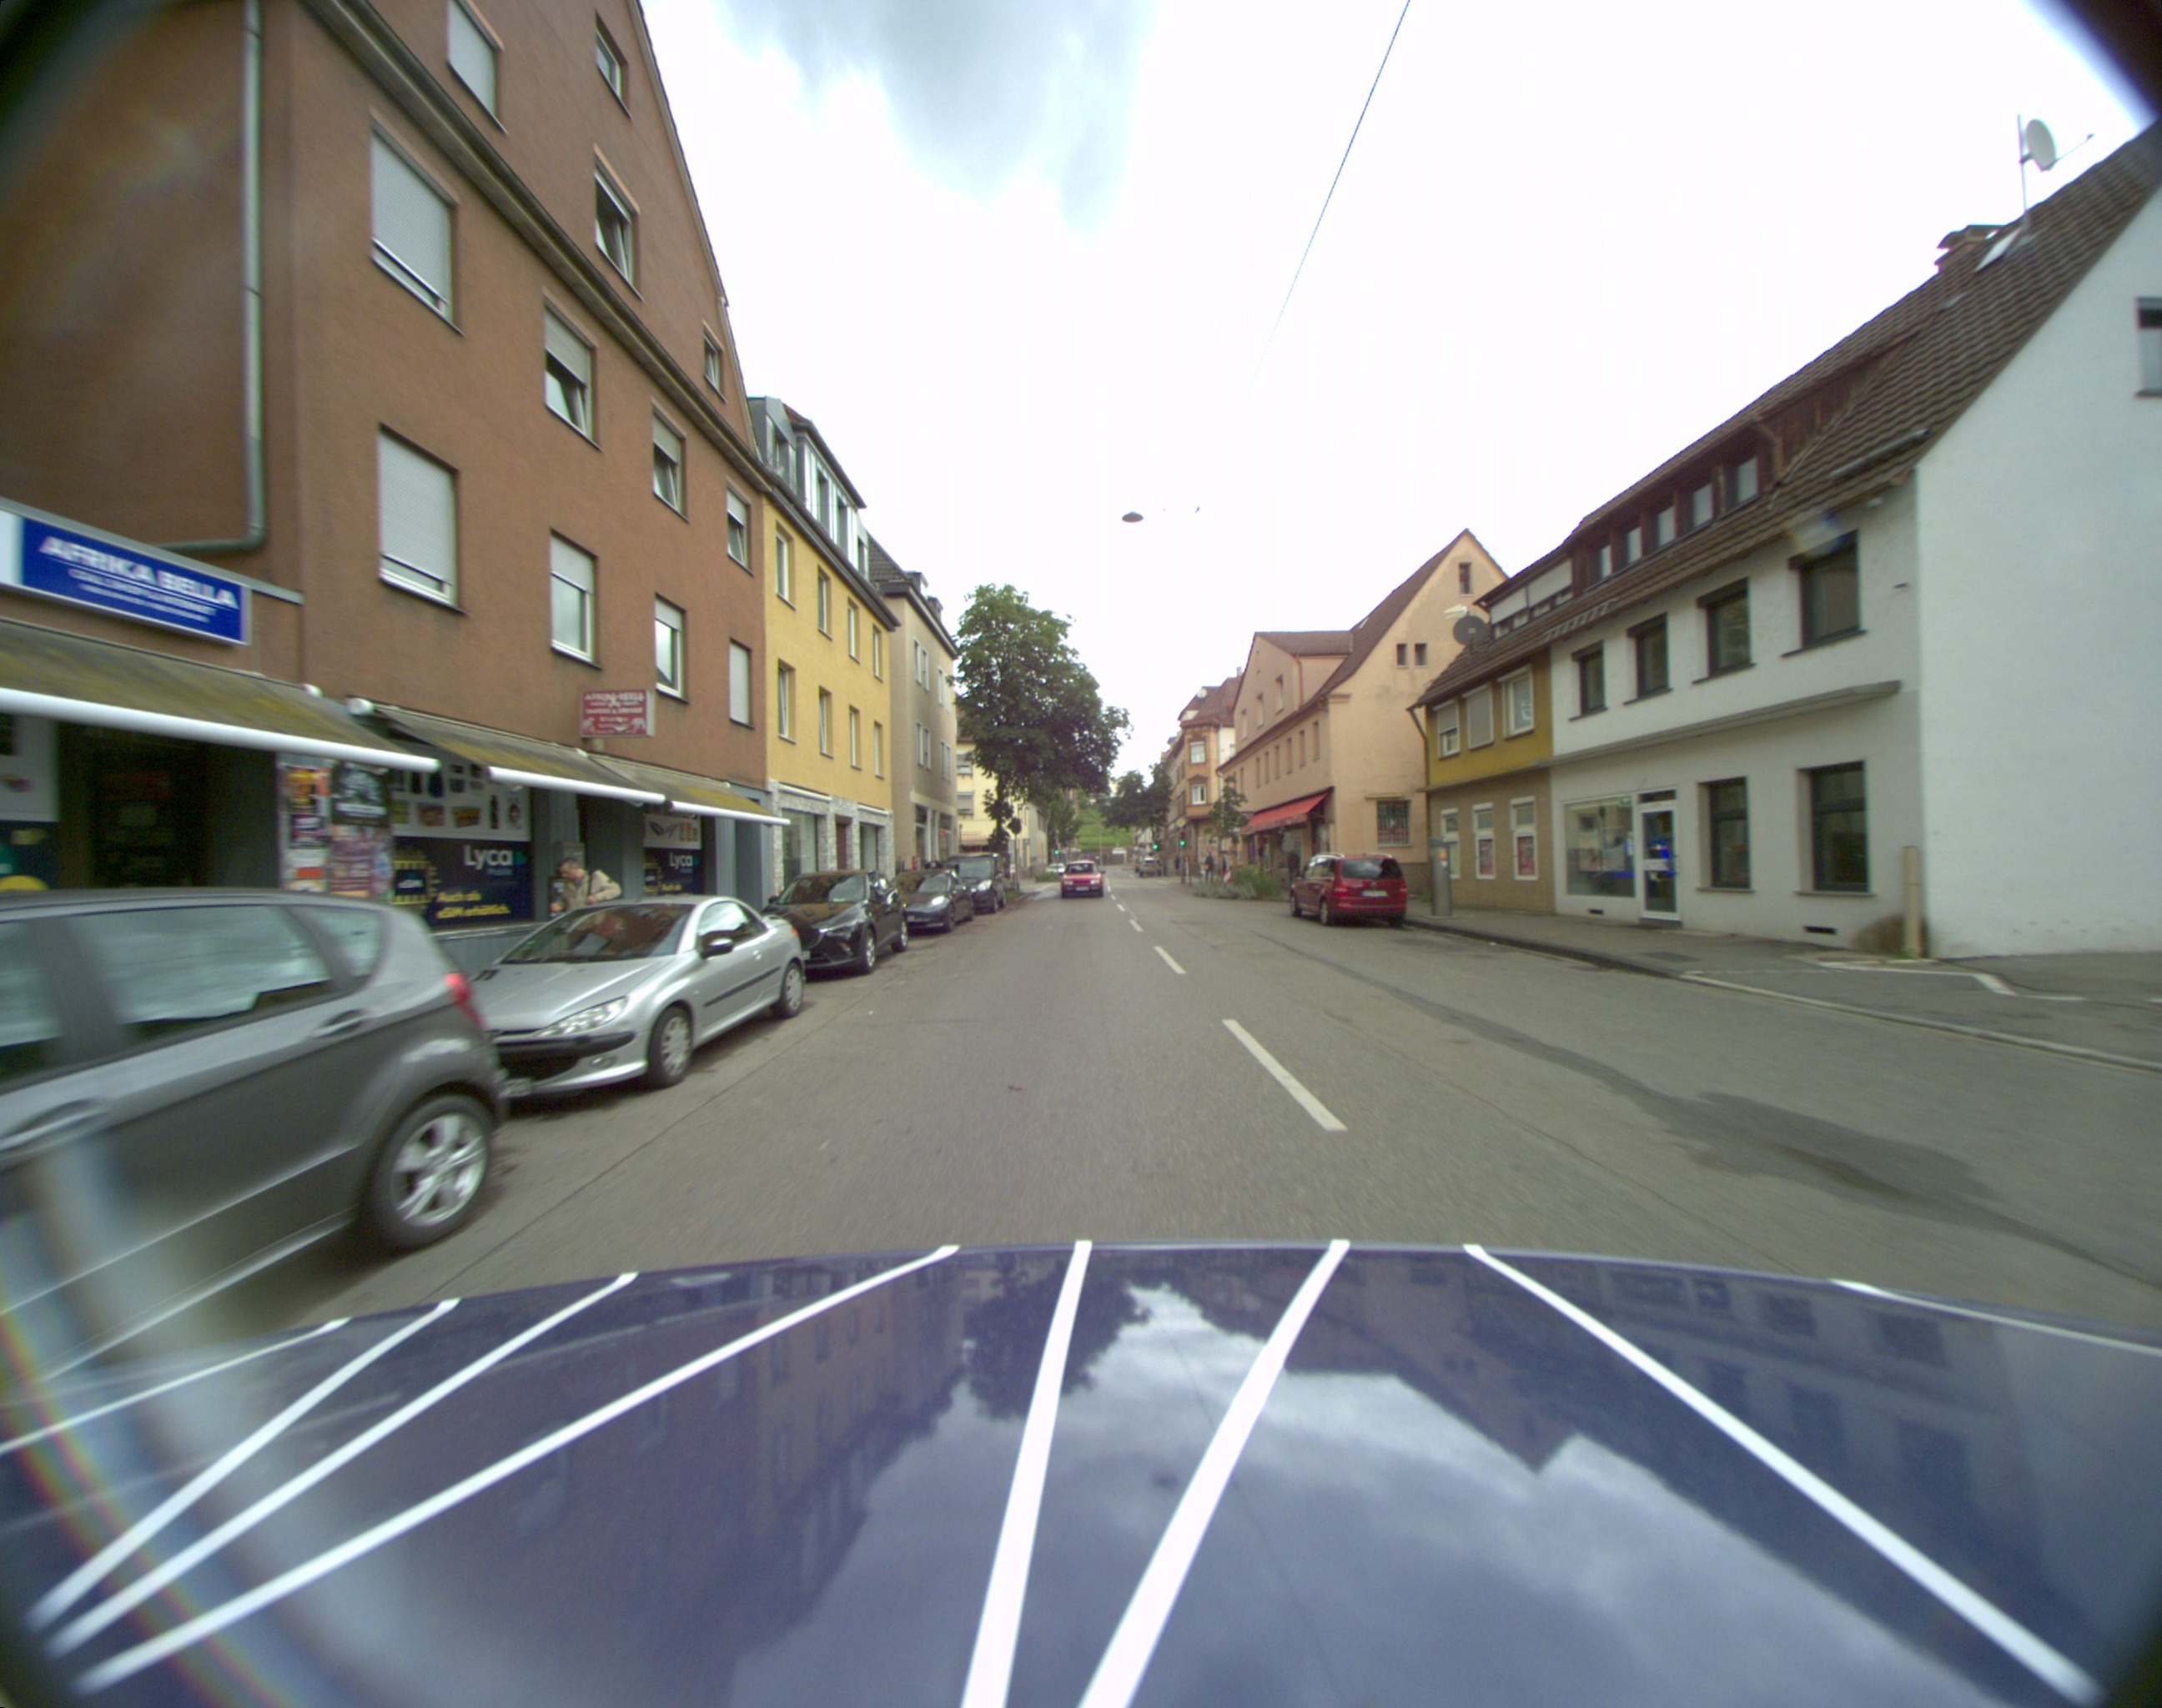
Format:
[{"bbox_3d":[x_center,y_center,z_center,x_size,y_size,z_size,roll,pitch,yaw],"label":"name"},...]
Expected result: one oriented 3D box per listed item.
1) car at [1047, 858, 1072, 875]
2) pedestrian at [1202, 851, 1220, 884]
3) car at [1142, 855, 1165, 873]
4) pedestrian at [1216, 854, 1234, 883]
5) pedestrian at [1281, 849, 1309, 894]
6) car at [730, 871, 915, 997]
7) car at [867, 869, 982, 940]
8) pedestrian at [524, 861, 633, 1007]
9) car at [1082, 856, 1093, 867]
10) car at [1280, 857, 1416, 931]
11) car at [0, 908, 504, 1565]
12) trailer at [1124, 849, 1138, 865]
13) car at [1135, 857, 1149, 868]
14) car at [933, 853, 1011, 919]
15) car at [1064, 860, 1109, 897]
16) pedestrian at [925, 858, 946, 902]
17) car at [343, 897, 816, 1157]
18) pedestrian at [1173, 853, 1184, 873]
[{"bbox_3d":[-2.027,1.179,72.666,1.771,1.457,4.785,-2,0,5],"label":"car"},{"bbox_3d":[7.002,0.705,40.873,0.740,1.744,0.983,-2,0,1],"label":"pedestrian"},{"bbox_3d":[6.848,0.940,72.230,1.895,1.702,4.742,0,0,2],"label":"car"},{"bbox_3d":[7.841,0.773,41.453,0.740,1.526,0.982,-2,0,-1],"label":"pedestrian"},{"bbox_3d":[8.116,0.657,28.805,0.732,1.619,0.758,-3,2,-3],"label":"pedestrian"},{"bbox_3d":[-3.881,1.104,12.174,1.606,1.509,4.208,-2,0,-2],"label":"car"},{"bbox_3d":[-3.645,1.128,18.499,1.755,1.397,4.511,-1,0,1],"label":"car"},{"bbox_3d":[-5.952,0.911,9.048,0.703,1.639,0.888,0,0,0],"label":"pedestrian"},{"bbox_3d":[1.215,1.492,144.882,1.998,1.970,4.878,-2,0,1],"label":"car"},{"bbox_3d":[6.264,0.875,18.378,1.707,1.564,4.450,1,0,0],"label":"car"},{"bbox_3d":[-3.638,1.066,1.741,1.716,1.551,3.785,-2,0,-1],"label":"car"},{"bbox_3d":[9.125,0.589,139.247,2.450,2.787,6.304,0,0,4],"label":"trailer"},{"bbox_3d":[7.777,1.112,96.845,1.582,1.374,4.355,0,0,3],"label":"car"},{"bbox_3d":[-3.296,0.906,23.749,1.824,1.770,4.402,-2,0,-1],"label":"car"},{"bbox_3d":[0.289,0.974,31.984,1.626,1.387,4.001,-2,0,4],"label":"car"},{"bbox_3d":[-5.449,0.966,28.473,0.616,1.643,0.983,0,0,0],"label":"pedestrian"},{"bbox_3d":[-3.746,1.172,6.585,1.555,1.325,3.812,-2,0,-1],"label":"car"},{"bbox_3d":[8.633,0.774,67.054,0.740,1.708,1.156,-2,0,-2],"label":"pedestrian"}]
